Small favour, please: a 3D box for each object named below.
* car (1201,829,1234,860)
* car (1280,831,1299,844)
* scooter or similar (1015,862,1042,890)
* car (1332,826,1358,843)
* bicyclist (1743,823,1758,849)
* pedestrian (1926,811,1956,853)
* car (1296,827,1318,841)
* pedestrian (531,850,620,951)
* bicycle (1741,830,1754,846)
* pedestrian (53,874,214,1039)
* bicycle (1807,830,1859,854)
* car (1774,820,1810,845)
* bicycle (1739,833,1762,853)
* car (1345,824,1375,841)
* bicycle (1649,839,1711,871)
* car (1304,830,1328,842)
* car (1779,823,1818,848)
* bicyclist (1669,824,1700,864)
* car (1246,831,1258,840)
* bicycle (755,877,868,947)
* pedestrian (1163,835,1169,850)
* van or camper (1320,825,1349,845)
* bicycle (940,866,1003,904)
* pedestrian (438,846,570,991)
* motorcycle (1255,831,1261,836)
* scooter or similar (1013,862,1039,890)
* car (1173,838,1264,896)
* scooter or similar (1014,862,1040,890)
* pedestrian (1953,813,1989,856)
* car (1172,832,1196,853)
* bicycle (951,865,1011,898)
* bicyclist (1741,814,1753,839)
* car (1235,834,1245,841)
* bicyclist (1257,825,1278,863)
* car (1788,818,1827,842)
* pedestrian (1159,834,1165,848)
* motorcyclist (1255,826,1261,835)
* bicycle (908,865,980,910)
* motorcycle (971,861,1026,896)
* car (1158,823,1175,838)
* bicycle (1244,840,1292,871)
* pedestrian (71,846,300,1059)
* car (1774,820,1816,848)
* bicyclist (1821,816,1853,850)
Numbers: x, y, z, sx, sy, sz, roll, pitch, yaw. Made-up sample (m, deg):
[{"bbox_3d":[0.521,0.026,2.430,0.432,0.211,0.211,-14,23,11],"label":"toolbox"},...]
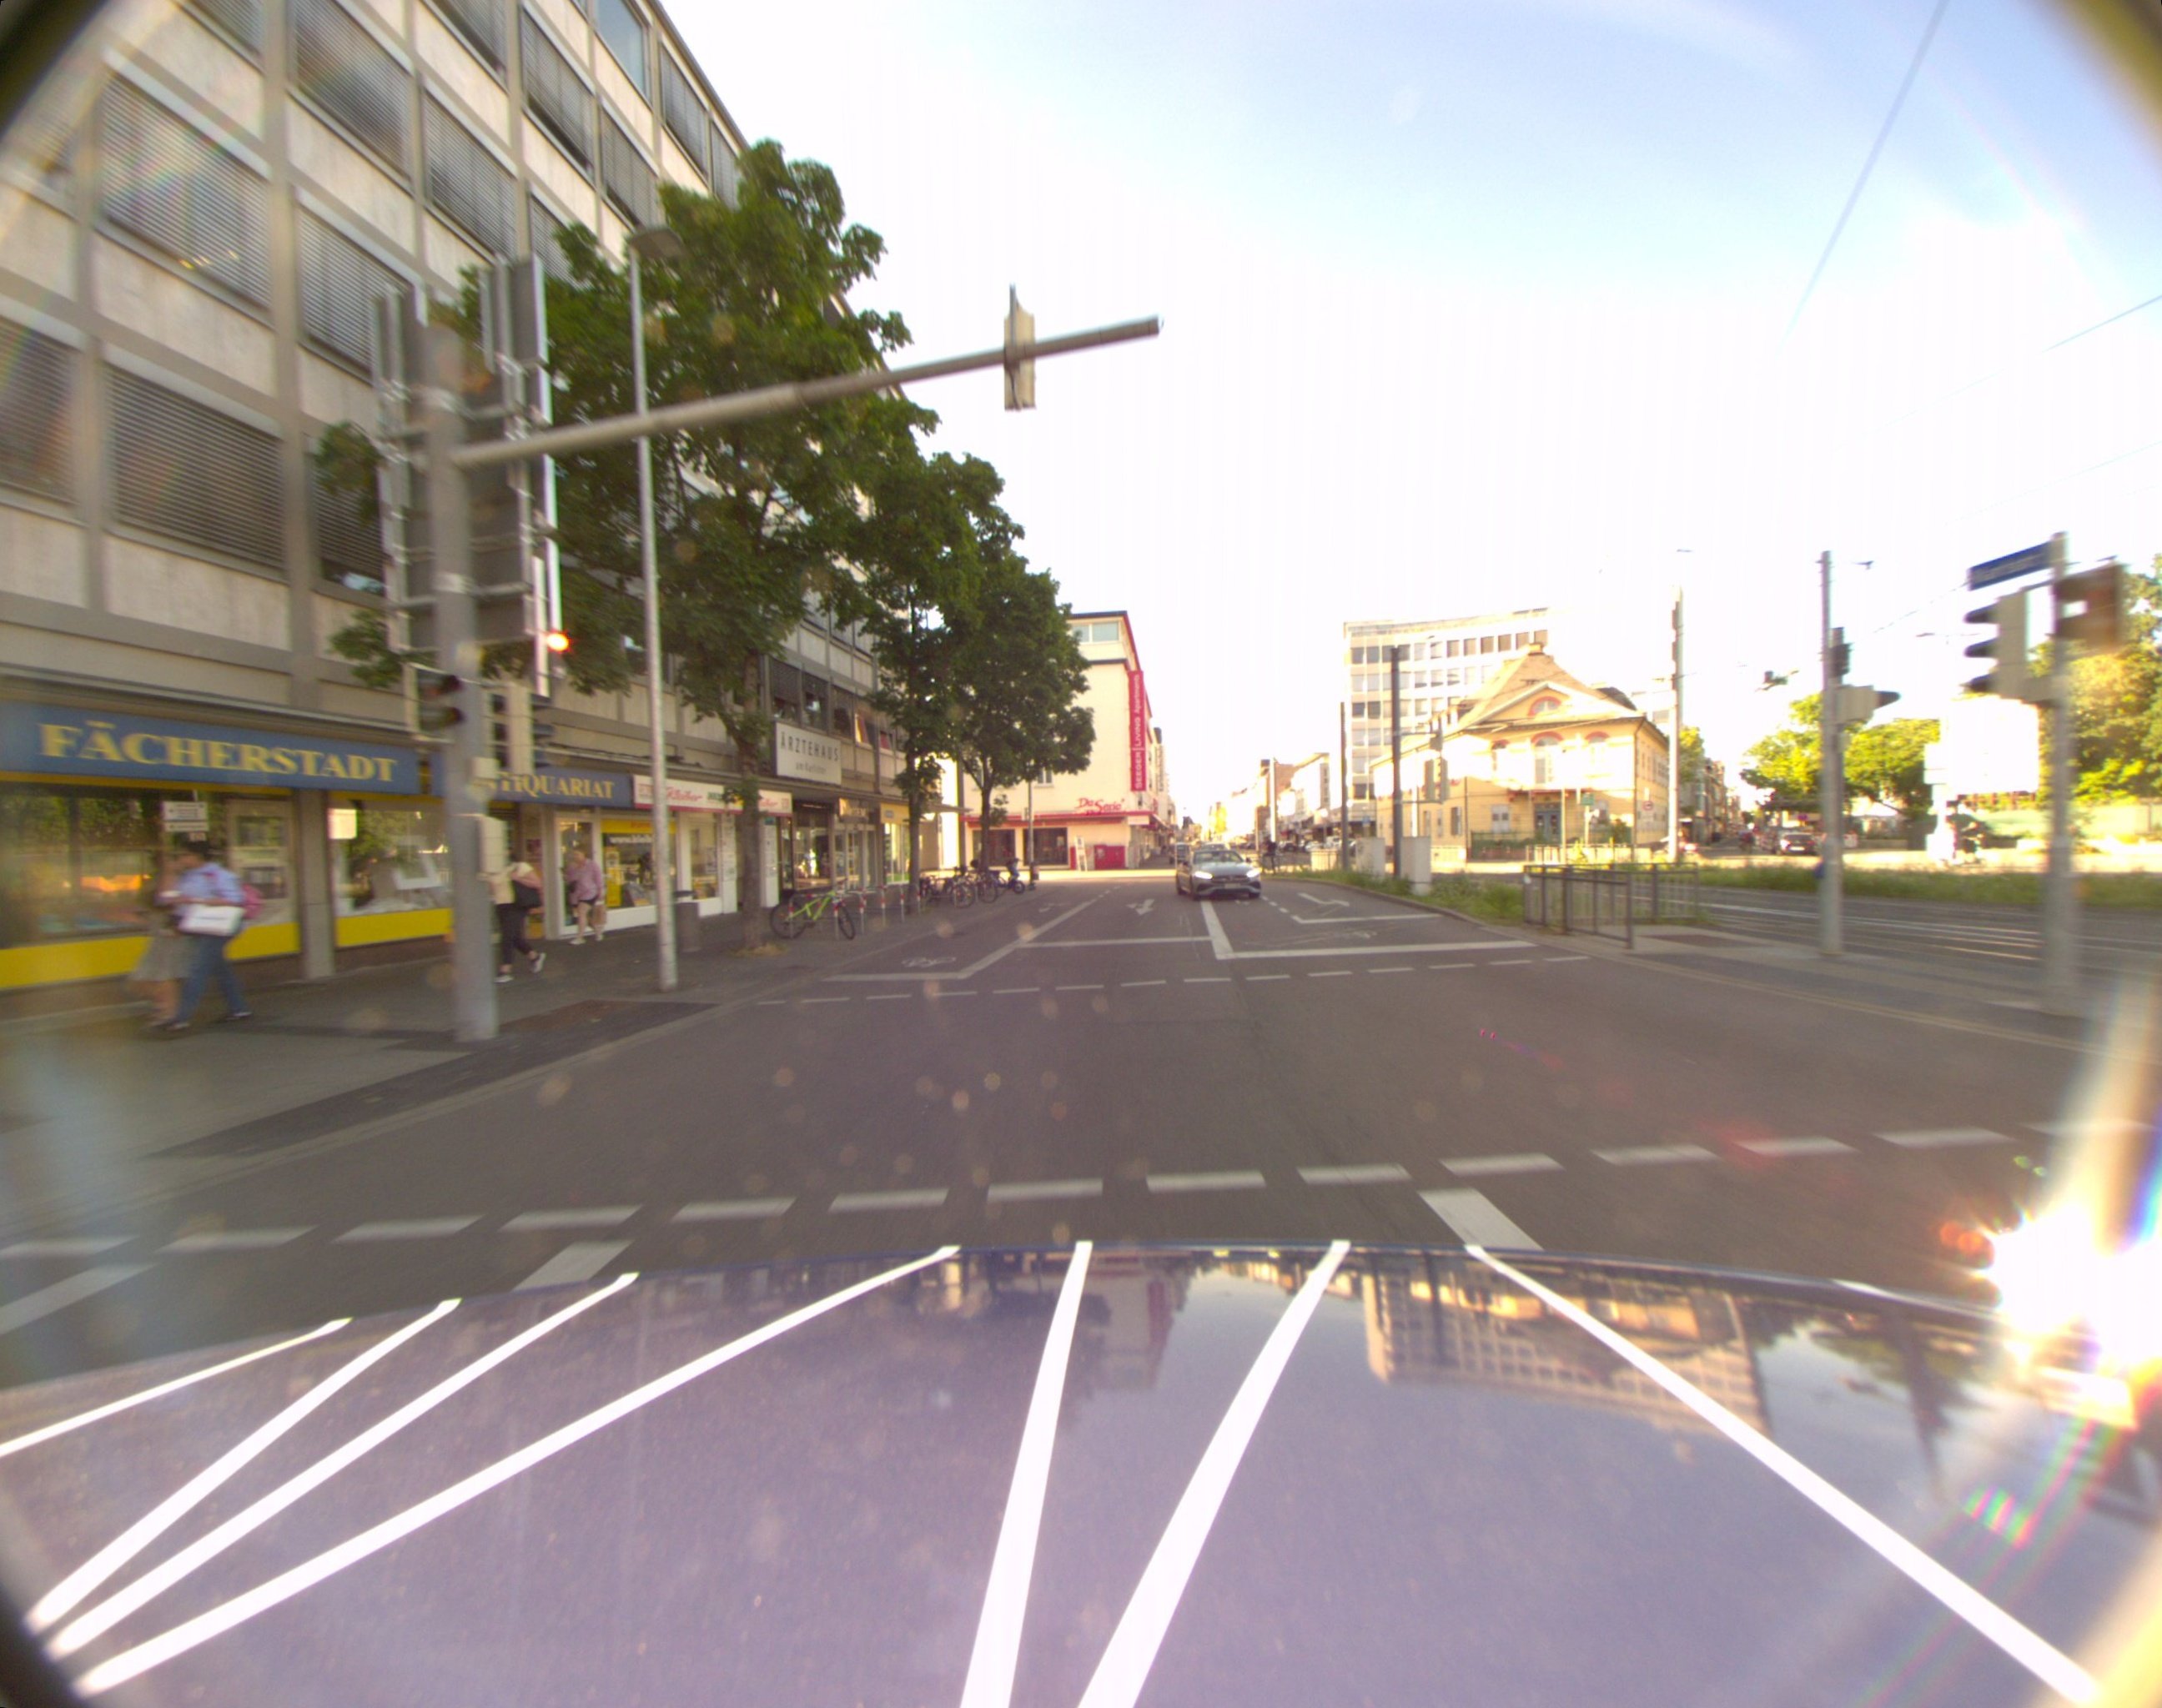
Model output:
[{"bbox_3d":[7.597,-0.570,42.559,1.736,1.654,3.962,0,2,9],"label":"car"},{"bbox_3d":[25.971,-2.117,94.848,1.688,1.552,4.123,-2,2,8],"label":"car"},{"bbox_3d":[-1.988,0.823,28.843,0.965,1.037,0.160,-1,2,13],"label":"scooter or similar"},{"bbox_3d":[26.590,-2.011,76.599,1.780,1.611,4.178,-3,2,11],"label":"car"},{"bbox_3d":[42.513,-1.138,48.246,0.521,1.664,0.771,-1,2,23],"label":"bicyclist"},{"bbox_3d":[37.666,-0.949,33.268,0.594,1.807,0.705,-1,2,20],"label":"pedestrian"},{"bbox_3d":[29.799,-2.645,100.439,1.929,1.633,4.283,-3,2,6],"label":"car"},{"bbox_3d":[-8.448,0.752,12.742,0.845,1.593,0.879,-2,2,-7],"label":"pedestrian"},{"bbox_3d":[45.663,-1.091,52.094,0.530,1.008,1.888,0,3,37],"label":"bicycle"},{"bbox_3d":[-8.707,0.914,7.005,0.646,1.414,0.621,-2,2,11],"label":"pedestrian"},{"bbox_3d":[32.549,-0.535,32.920,0.651,1.008,1.886,-2,2,12],"label":"bicycle"},{"bbox_3d":[50.377,-1.543,53.813,1.797,1.661,3.763,0,3,45],"label":"car"},{"bbox_3d":[42.509,-0.736,48.262,0.530,1.207,1.887,-1,2,22],"label":"bicycle"},{"bbox_3d":[25.996,-2.024,70.893,1.780,1.431,3.962,-3,2,9],"label":"car"},{"bbox_3d":[25.215,0.044,32.021,0.576,1.284,2.022,-3,2,-26],"label":"bicycle"},{"bbox_3d":[29.528,-2.299,95.618,1.930,1.444,4.293,-3,2,4],"label":"car"},{"bbox_3d":[43.076,-1.108,45.586,1.646,1.339,3.766,0,3,44],"label":"car"},{"bbox_3d":[25.279,-0.409,31.827,0.591,1.639,0.805,-3,1,-26],"label":"bicyclist"},{"bbox_3d":[31.621,-3.452,140.620,1.780,1.501,4.671,0,2,7],"label":"car"},{"bbox_3d":[-4.781,1.018,13.509,1.893,1.150,0.480,0,3,10],"label":"bicycle"},{"bbox_3d":[10.461,-1.430,93.637,0.738,1.807,0.748,-2,2,6],"label":"pedestrian"},{"bbox_3d":[27.412,-2.109,82.310,1.958,1.962,4.798,-3,2,7],"label":"van or camper"},{"bbox_3d":[-3.221,0.910,22.400,1.769,1.051,0.458,-2,2,15],"label":"bicycle"},{"bbox_3d":[-7.159,0.771,9.470,0.844,1.697,0.880,-2,2,10],"label":"pedestrian"},{"bbox_3d":[31.298,-3.572,134.233,0.601,0.921,2.155,-2,2,-1],"label":"motorcycle"},{"bbox_3d":[-2.063,0.832,28.451,0.965,1.021,0.160,-1,2,13],"label":"scooter or similar"},{"bbox_3d":[3.916,0.304,22.476,1.869,1.431,4.773,-2,2,1],"label":"car"},{"bbox_3d":[-2.031,0.827,28.649,0.957,1.033,0.160,-1,2,13],"label":"scooter or similar"},{"bbox_3d":[38.568,-0.846,32.932,0.705,1.841,0.740,-1,2,20],"label":"pedestrian"},{"bbox_3d":[8.167,-0.934,60.023,1.780,1.560,3.962,0,2,9],"label":"car"},{"bbox_3d":[-3.203,0.879,24.357,1.855,1.050,0.399,0,2,-1],"label":"bicycle"},{"bbox_3d":[45.612,-1.867,52.031,0.521,1.664,0.771,0,3,37],"label":"bicyclist"},{"bbox_3d":[33.903,-3.449,161.720,1.780,1.501,3.861,0,2,7],"label":"car"},{"bbox_3d":[7.748,-0.423,31.556,0.683,1.515,0.634,-2,2,-3],"label":"bicyclist"},{"bbox_3d":[54.403,-1.827,56.883,3.763,1.661,1.797,-4,3,-42],"label":"car"},{"bbox_3d":[10.534,-1.688,98.723,0.705,1.807,0.807,-2,2,6],"label":"pedestrian"},{"bbox_3d":[31.265,-4.114,134.278,0.654,1.550,0.884,-2,2,-2],"label":"motorcyclist"},{"bbox_3d":[-3.670,0.890,20.405,1.813,1.145,0.435,-1,2,6],"label":"bicycle"},{"bbox_3d":[-2.864,0.854,26.383,1.790,1.123,0.504,-2,2,10],"label":"motorcycle"},{"bbox_3d":[9.825,-2.757,87.600,1.782,1.654,4.164,0,2,9],"label":"car"},{"bbox_3d":[7.759,0.061,31.578,1.825,1.205,0.641,-2,2,-3],"label":"bicycle"},{"bbox_3d":[-7.862,0.809,6.739,0.880,1.711,0.844,-2,2,-11],"label":"pedestrian"},{"bbox_3d":[46.903,-1.335,49.991,1.888,1.661,3.871,0,3,41],"label":"car"},{"bbox_3d":[32.531,-0.904,32.713,0.665,1.446,0.731,-2,2,10],"label":"bicyclist"}]
